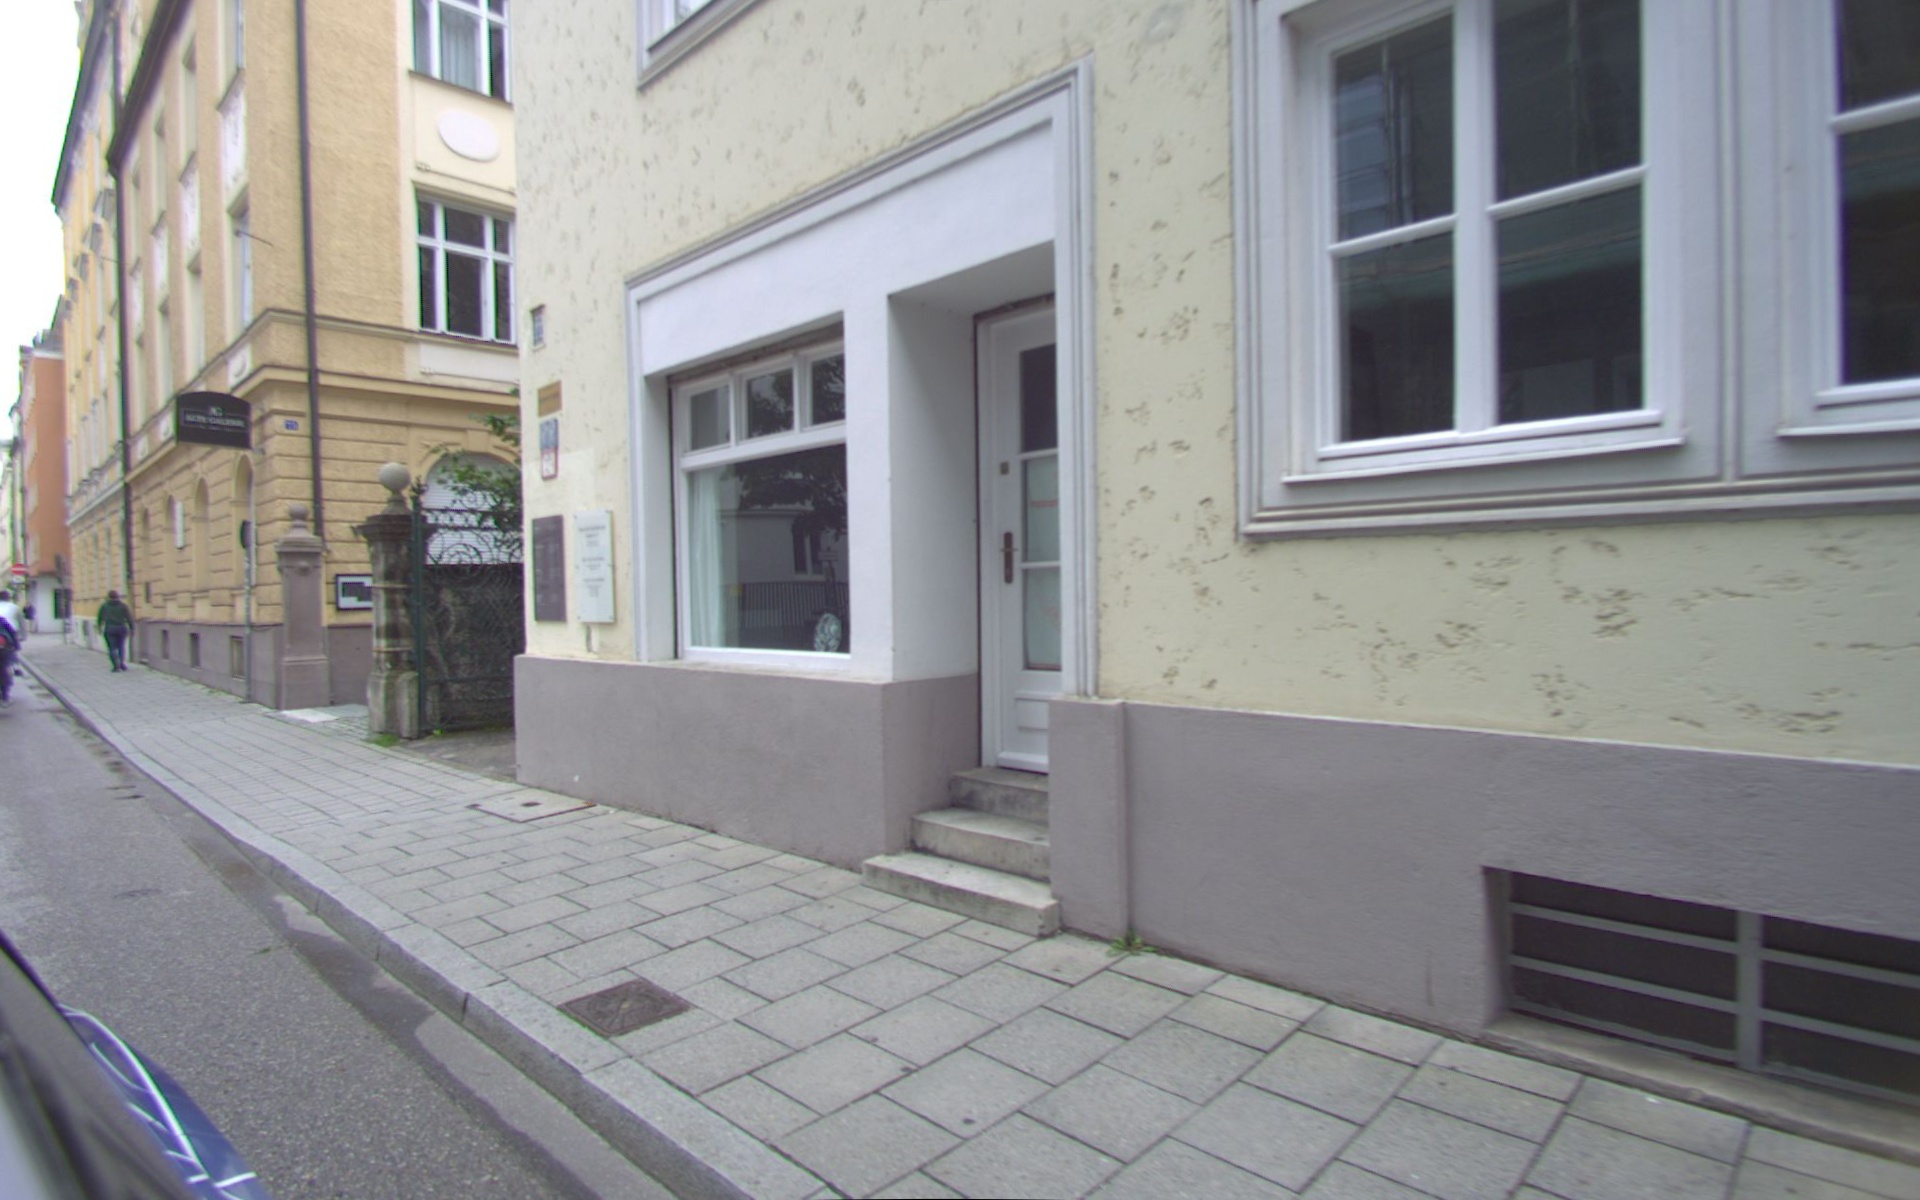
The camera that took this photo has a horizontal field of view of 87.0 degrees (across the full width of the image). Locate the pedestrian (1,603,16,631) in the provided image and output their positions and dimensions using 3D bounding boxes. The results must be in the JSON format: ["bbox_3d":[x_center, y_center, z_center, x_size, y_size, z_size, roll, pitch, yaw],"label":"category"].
[{"bbox_3d":[-62.287,1.102,66.224,0.690,1.806,0.764,-1,0,-45],"label":"pedestrian"}]

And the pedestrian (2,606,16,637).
[{"bbox_3d":[-62.145,1.403,66.110,0.626,2.029,0.788,0,-1,-45],"label":"pedestrian"}]

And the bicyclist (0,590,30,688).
[{"bbox_3d":[-16.605,0.670,17.549,0.895,1.655,0.652,-1,0,44],"label":"bicyclist"}]

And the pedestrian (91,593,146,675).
[{"bbox_3d":[-18.058,0.718,21.716,0.930,1.678,0.705,-1,3,44],"label":"pedestrian"}]

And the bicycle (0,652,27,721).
[{"bbox_3d":[-14.354,1.272,14.979,1.810,0.912,0.700,-1,0,44],"label":"bicycle"}]

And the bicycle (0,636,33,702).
[{"bbox_3d":[-16.663,1.184,17.615,2.005,1.047,0.654,-1,0,44],"label":"bicycle"}]

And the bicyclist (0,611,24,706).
[{"bbox_3d":[-14.376,0.869,14.984,0.813,1.381,0.700,-1,0,44],"label":"bicyclist"}]

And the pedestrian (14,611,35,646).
[{"bbox_3d":[-45.204,1.372,48.902,0.564,1.707,0.606,-1,0,35],"label":"pedestrian"}]
